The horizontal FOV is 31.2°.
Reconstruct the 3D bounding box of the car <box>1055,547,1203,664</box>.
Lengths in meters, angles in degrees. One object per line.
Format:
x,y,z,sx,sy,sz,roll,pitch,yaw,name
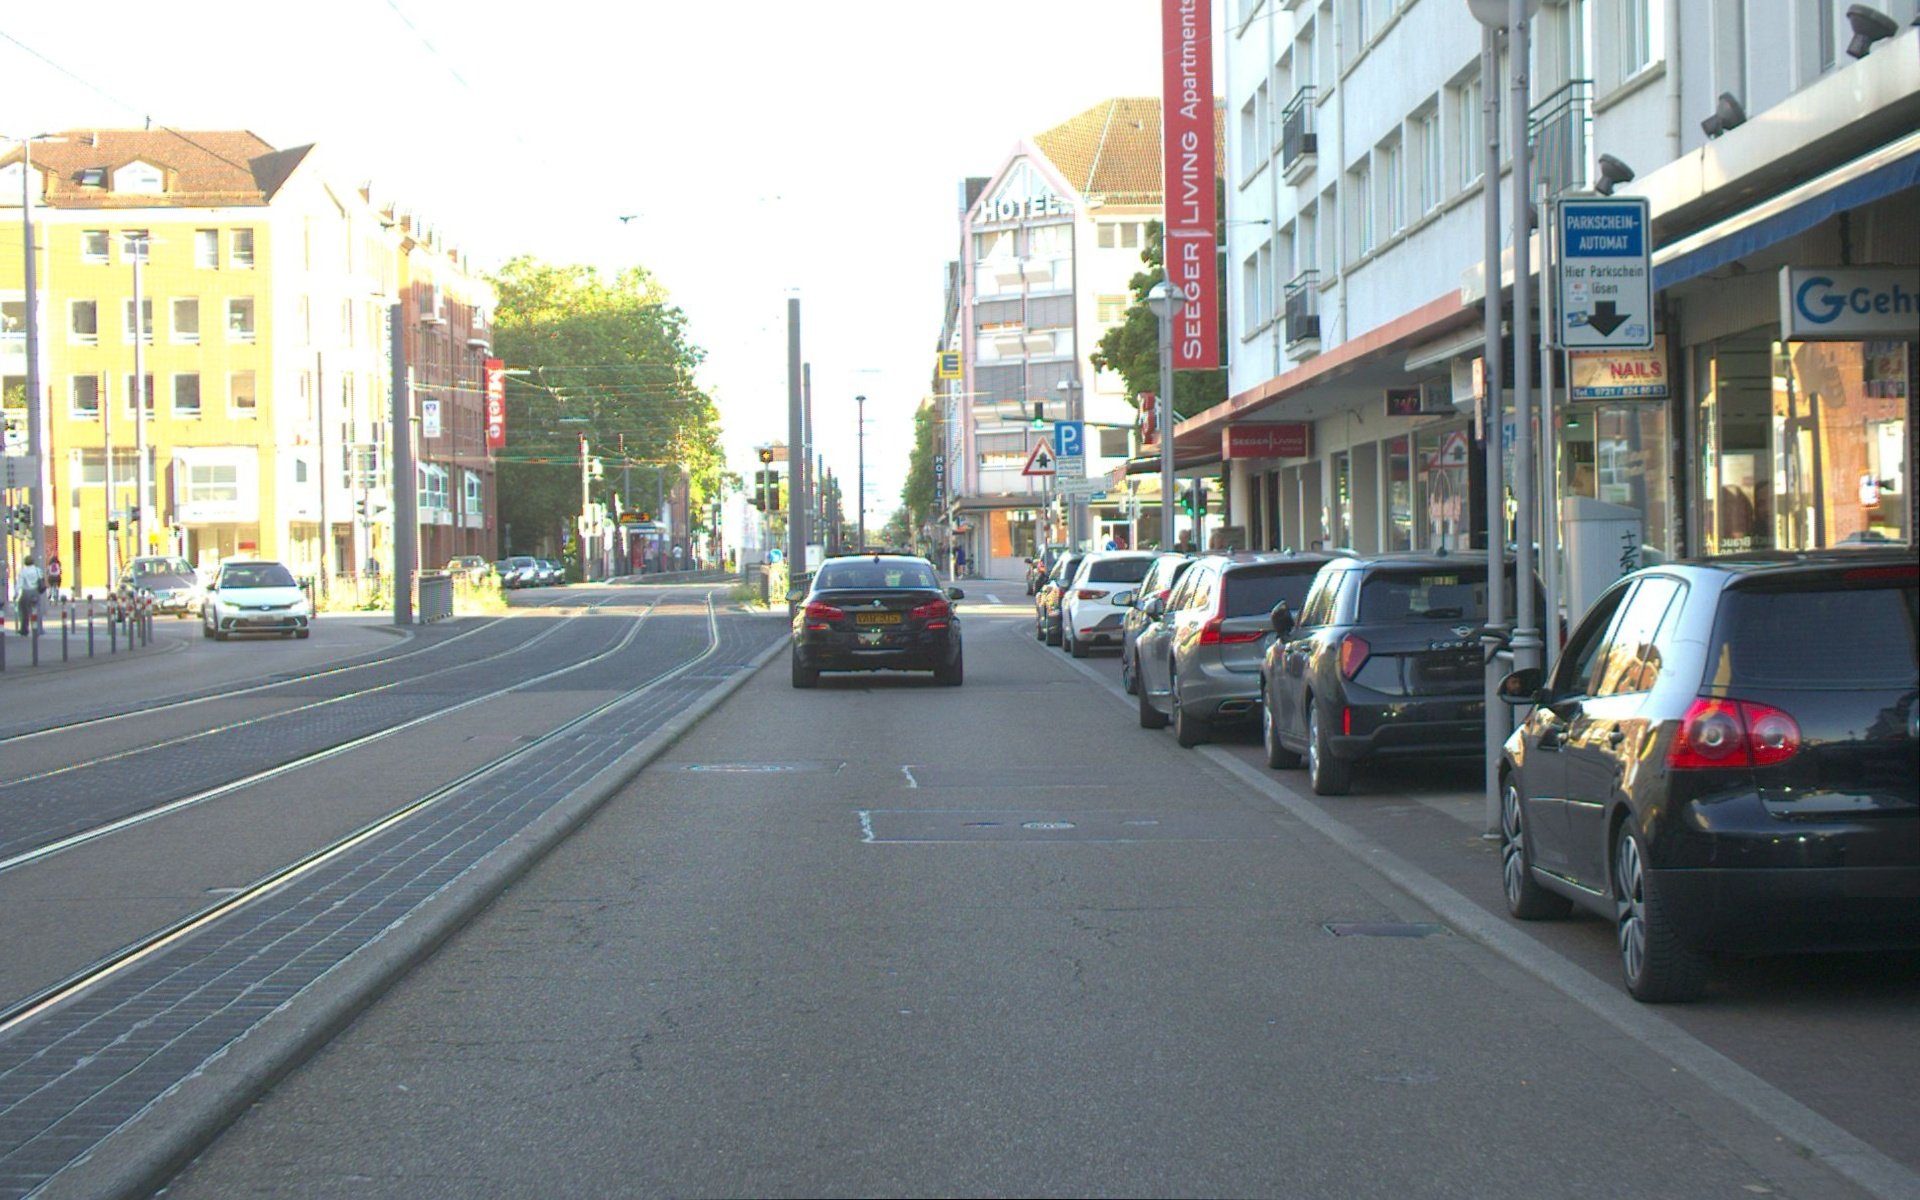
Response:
2.323,0.039,48.253,1.785,1.507,4.052,-2,1,0,car

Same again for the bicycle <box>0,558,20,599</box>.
-31.313,-0.698,112.667,0.618,1.320,2.016,1,1,-5,bicycle

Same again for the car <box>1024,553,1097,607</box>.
2.993,-0.622,102.943,1.993,1.546,4.000,-1,1,-1,car

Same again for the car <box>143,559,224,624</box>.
-18.897,-0.221,83.772,1.735,1.507,4.036,-1,1,-10,car

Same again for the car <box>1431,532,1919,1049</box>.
2.903,0.538,12.479,1.720,1.507,4.167,-2,1,0,car

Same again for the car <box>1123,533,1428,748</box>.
2.428,0.260,27.581,1.790,1.507,4.712,-2,1,-2,car

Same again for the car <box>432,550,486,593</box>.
-22.690,-1.311,155.712,1.993,1.895,4.812,-1,1,-4,car

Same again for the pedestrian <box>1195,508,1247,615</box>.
4.352,-0.646,57.296,0.728,1.735,0.863,-2,1,0,pedestrian

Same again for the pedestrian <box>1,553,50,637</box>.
-17.877,-0.103,65.775,0.731,1.579,0.955,-1,1,-5,pedestrian

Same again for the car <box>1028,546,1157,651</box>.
2.020,-0.058,53.544,1.735,1.507,4.686,-2,1,-1,car

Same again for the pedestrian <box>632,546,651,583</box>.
-17.350,-1.935,187.446,0.988,2.007,0.726,1,0,-2,pedestrian

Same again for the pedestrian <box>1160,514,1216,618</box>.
3.867,-0.576,58.281,0.827,1.712,0.843,-2,1,0,pedestrian

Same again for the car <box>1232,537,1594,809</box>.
2.780,0.390,21.901,1.685,1.507,4.035,-2,1,0,car

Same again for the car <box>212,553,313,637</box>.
-13.323,-0.123,65.583,1.806,1.507,4.036,-1,1,-12,car

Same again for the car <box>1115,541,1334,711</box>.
2.550,0.208,34.012,1.735,1.507,4.303,-2,1,0,car

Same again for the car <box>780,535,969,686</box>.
-0.955,0.074,38.897,1.993,1.579,4.000,-1,1,-1,car

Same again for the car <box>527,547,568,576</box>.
-23.268,-2.194,193.836,1.993,1.579,4.479,-1,1,-3,car

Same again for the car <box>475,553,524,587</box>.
-22.299,-1.456,166.456,1.993,1.579,4.588,-1,1,-3,car
